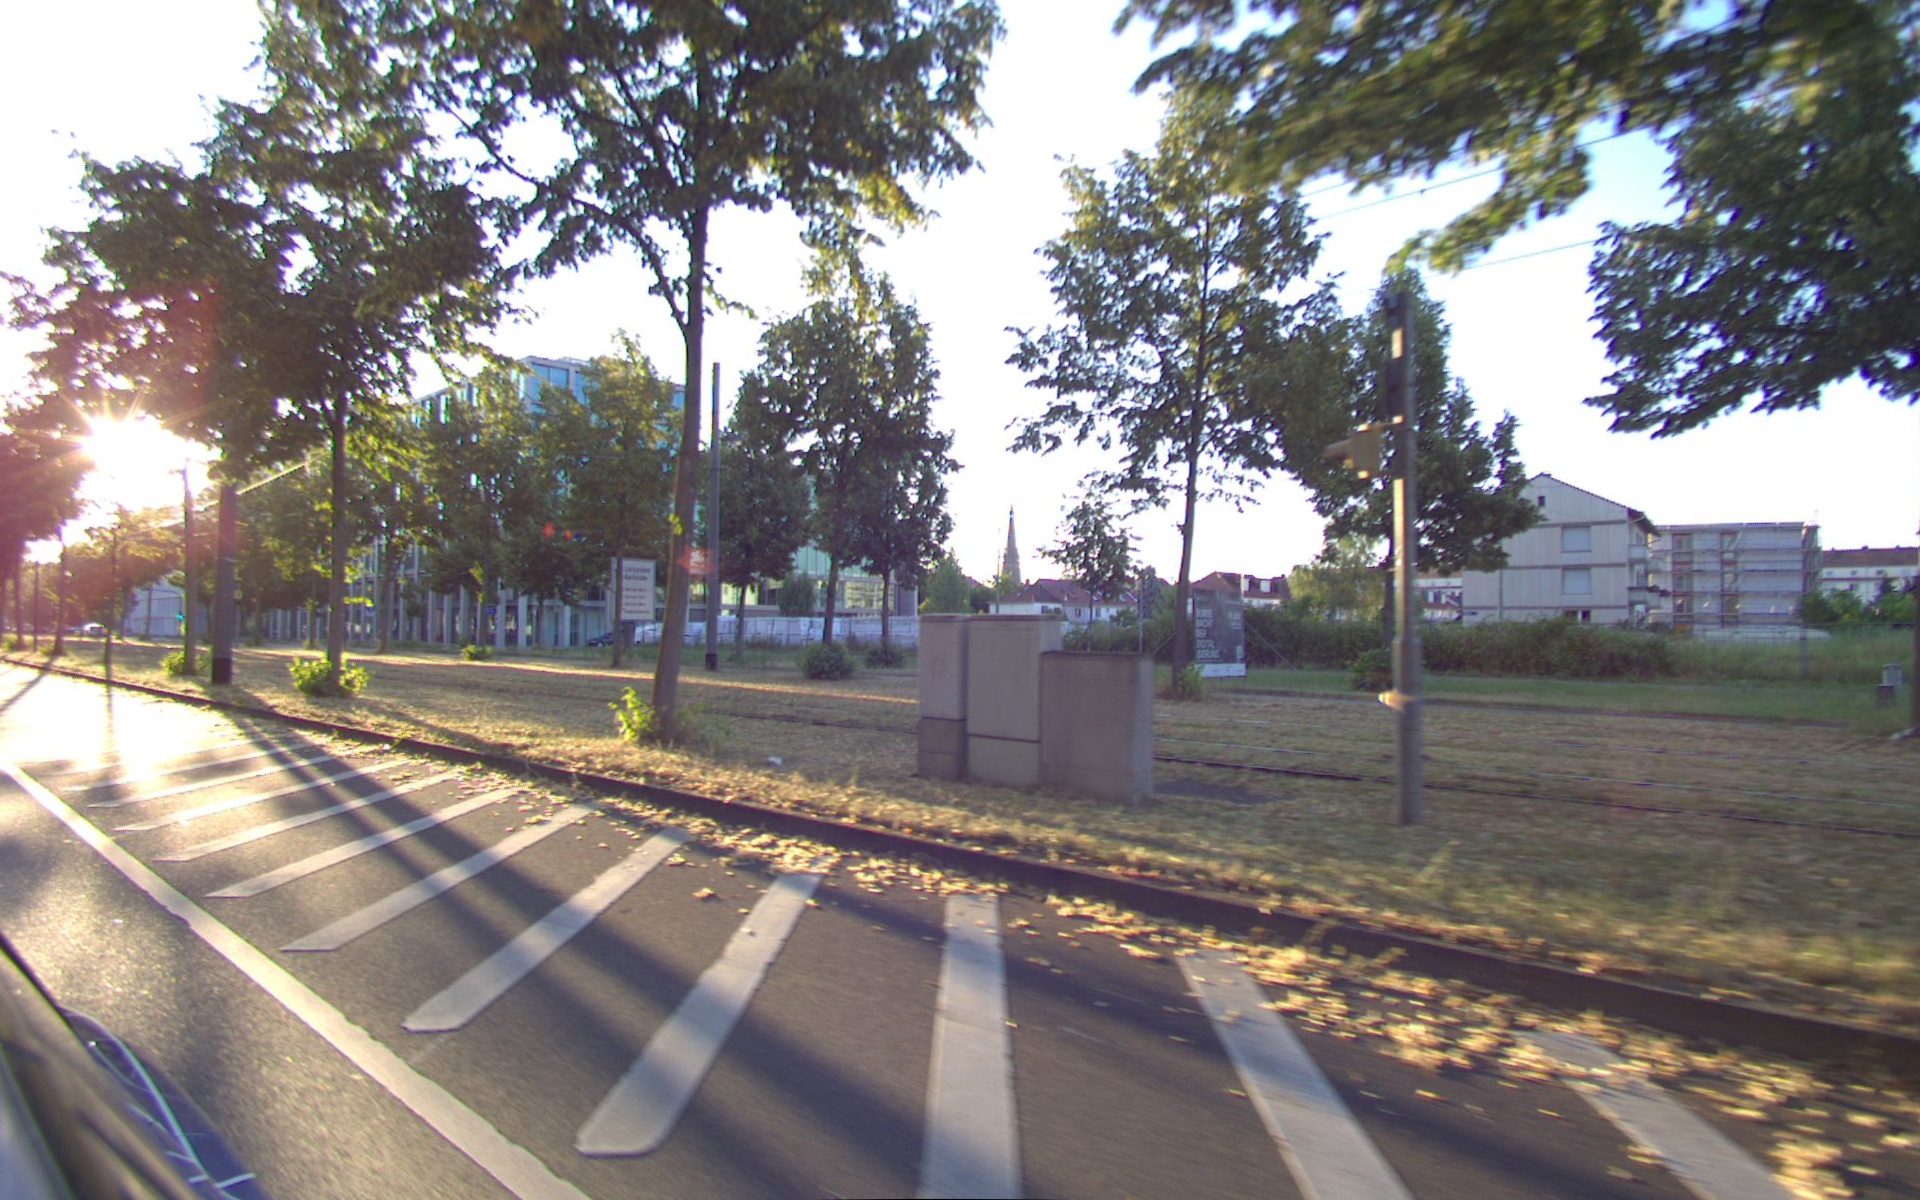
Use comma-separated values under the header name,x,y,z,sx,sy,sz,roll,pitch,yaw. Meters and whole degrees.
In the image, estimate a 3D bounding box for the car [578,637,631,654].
name,x,y,z,sx,sy,sz,roll,pitch,yaw
car,-30.899,3.961,88.006,1.895,1.457,3.942,-2,-3,44

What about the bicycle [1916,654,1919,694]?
name,x,y,z,sx,sy,sz,roll,pitch,yaw
bicycle,25.868,1.908,25.827,2.081,1.019,0.613,-1,-2,40

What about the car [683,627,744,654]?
name,x,y,z,sx,sy,sz,roll,pitch,yaw
car,-23.216,3.793,95.509,5.418,2.486,1.974,2,-3,-45

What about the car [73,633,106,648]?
name,x,y,z,sx,sy,sz,roll,pitch,yaw
car,-93.176,4.331,108.349,4.627,1.497,1.883,-2,-3,40

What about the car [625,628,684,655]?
name,x,y,z,sx,sy,sz,roll,pitch,yaw
car,-24.491,3.311,81.133,5.082,2.029,2.183,-2,-3,42
